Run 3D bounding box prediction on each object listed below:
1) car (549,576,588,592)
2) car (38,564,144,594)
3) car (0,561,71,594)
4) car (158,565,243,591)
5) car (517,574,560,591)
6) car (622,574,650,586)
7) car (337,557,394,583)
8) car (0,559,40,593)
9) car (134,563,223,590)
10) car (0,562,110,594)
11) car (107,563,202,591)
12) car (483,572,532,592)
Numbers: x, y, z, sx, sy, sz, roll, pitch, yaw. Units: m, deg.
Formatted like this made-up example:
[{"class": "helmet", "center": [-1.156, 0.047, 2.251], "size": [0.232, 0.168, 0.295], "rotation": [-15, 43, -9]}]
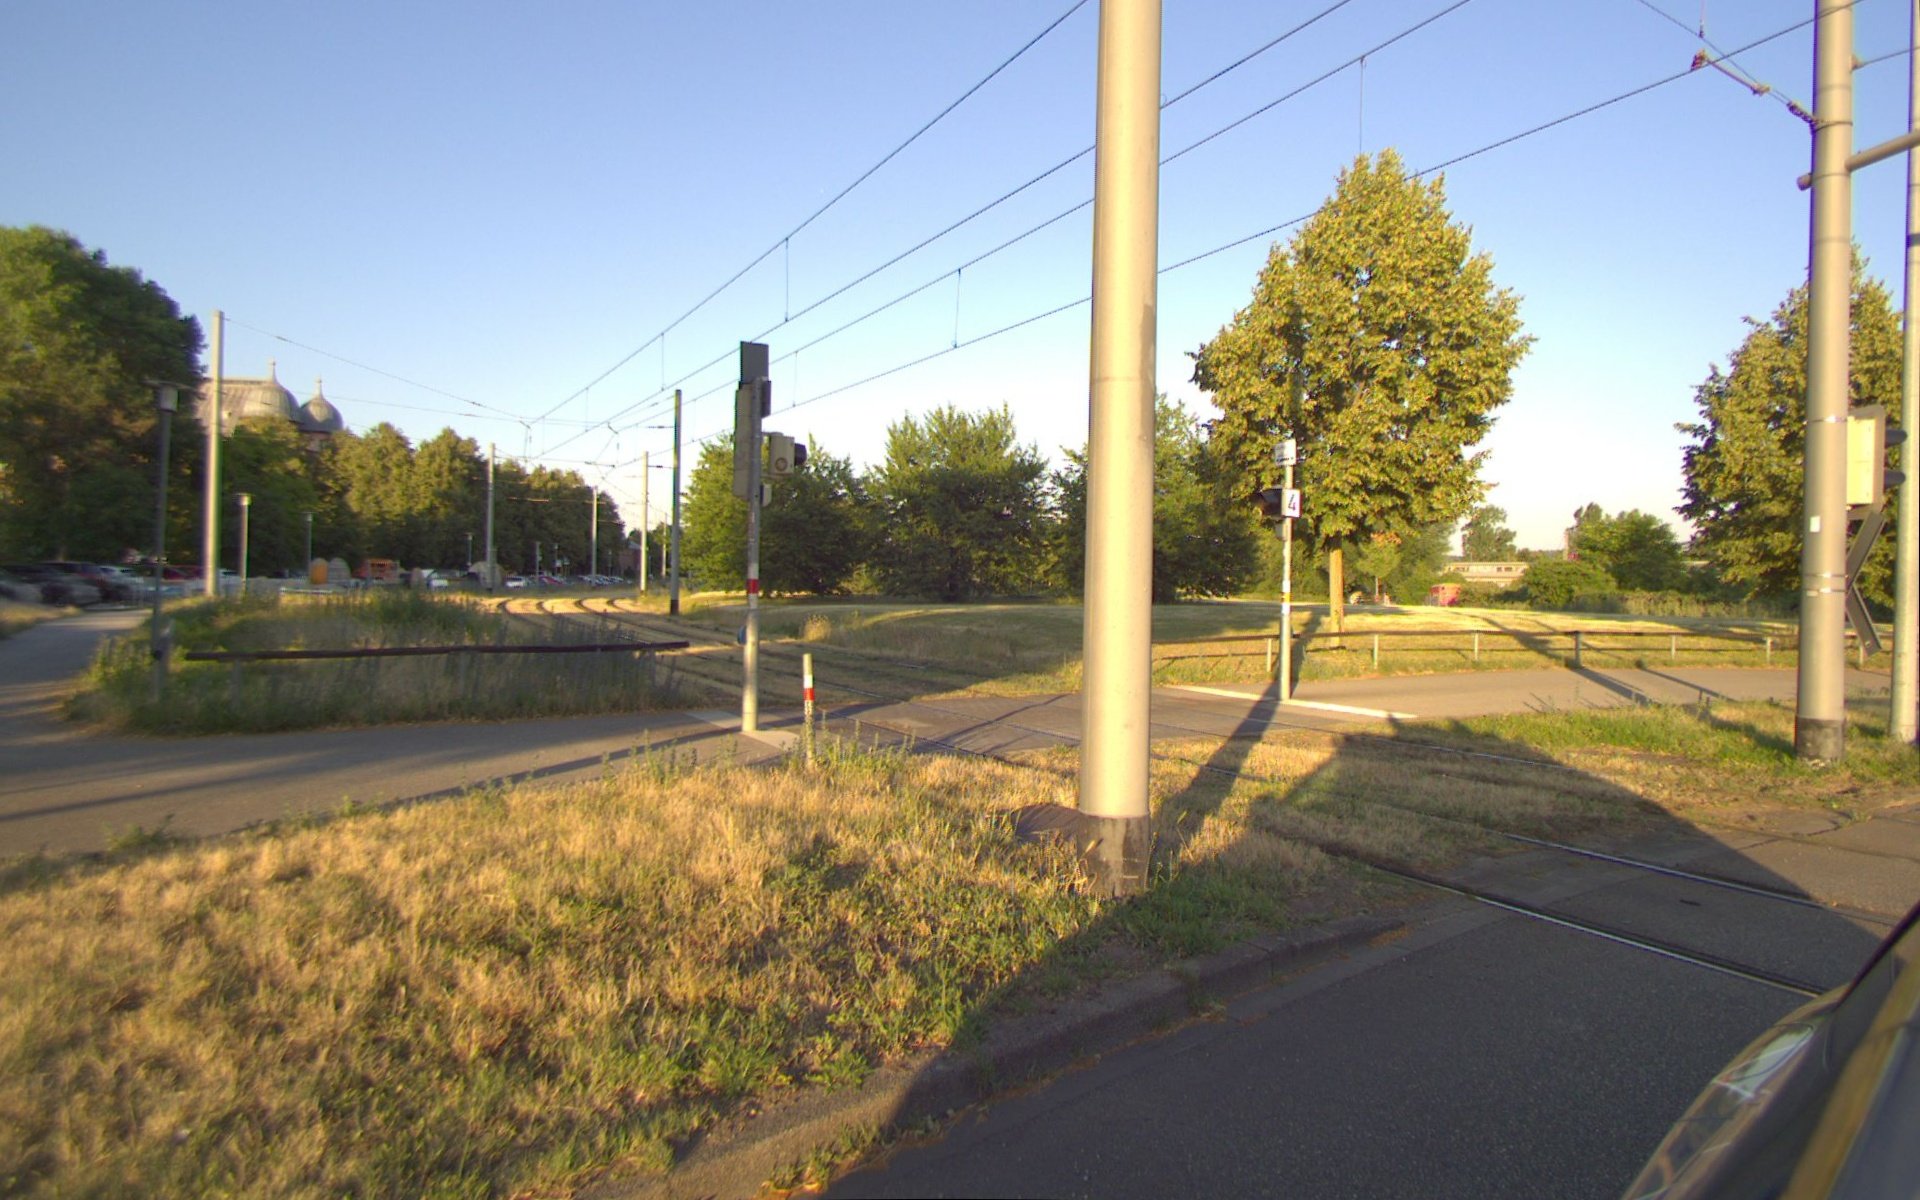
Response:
[{"class": "car", "center": [-40.296, -1.616, 104.190], "size": [3.536, 1.501, 1.714], "rotation": [2, -1, -14]}, {"class": "car", "center": [-47.213, -1.146, 55.055], "size": [3.917, 1.573, 1.907], "rotation": [1, 1, -11]}, {"class": "car", "center": [-46.137, -1.094, 49.210], "size": [3.917, 1.573, 1.907], "rotation": [1, 1, -11]}, {"class": "car", "center": [-48.309, -1.425, 64.424], "size": [3.917, 1.573, 1.907], "rotation": [1, 1, -11]}, {"class": "car", "center": [-40.144, -1.662, 96.395], "size": [3.536, 1.501, 1.714], "rotation": [2, -1, -14]}, {"class": "car", "center": [-45.519, -2.832, 142.181], "size": [3.536, 1.501, 1.714], "rotation": [2, -1, -14]}, {"class": "car", "center": [-52.121, -2.618, 88.807], "size": [3.917, 2.121, 1.907], "rotation": [1, 1, -11]}, {"class": "car", "center": [-45.906, -1.154, 47.203], "size": [4.014, 1.573, 1.907], "rotation": [1, 1, -11]}, {"class": "car", "center": [-47.826, -1.419, 62.000], "size": [3.917, 1.573, 1.907], "rotation": [1, 1, -11]}, {"class": "car", "center": [-46.620, -1.139, 52.115], "size": [3.917, 1.573, 1.907], "rotation": [1, 1, -11]}, {"class": "car", "center": [-47.334, -1.355, 59.552], "size": [3.917, 1.573, 1.907], "rotation": [1, 1, -11]}, {"class": "car", "center": [-38.760, -1.528, 86.675], "size": [3.536, 1.501, 1.714], "rotation": [2, -1, -14]}]
